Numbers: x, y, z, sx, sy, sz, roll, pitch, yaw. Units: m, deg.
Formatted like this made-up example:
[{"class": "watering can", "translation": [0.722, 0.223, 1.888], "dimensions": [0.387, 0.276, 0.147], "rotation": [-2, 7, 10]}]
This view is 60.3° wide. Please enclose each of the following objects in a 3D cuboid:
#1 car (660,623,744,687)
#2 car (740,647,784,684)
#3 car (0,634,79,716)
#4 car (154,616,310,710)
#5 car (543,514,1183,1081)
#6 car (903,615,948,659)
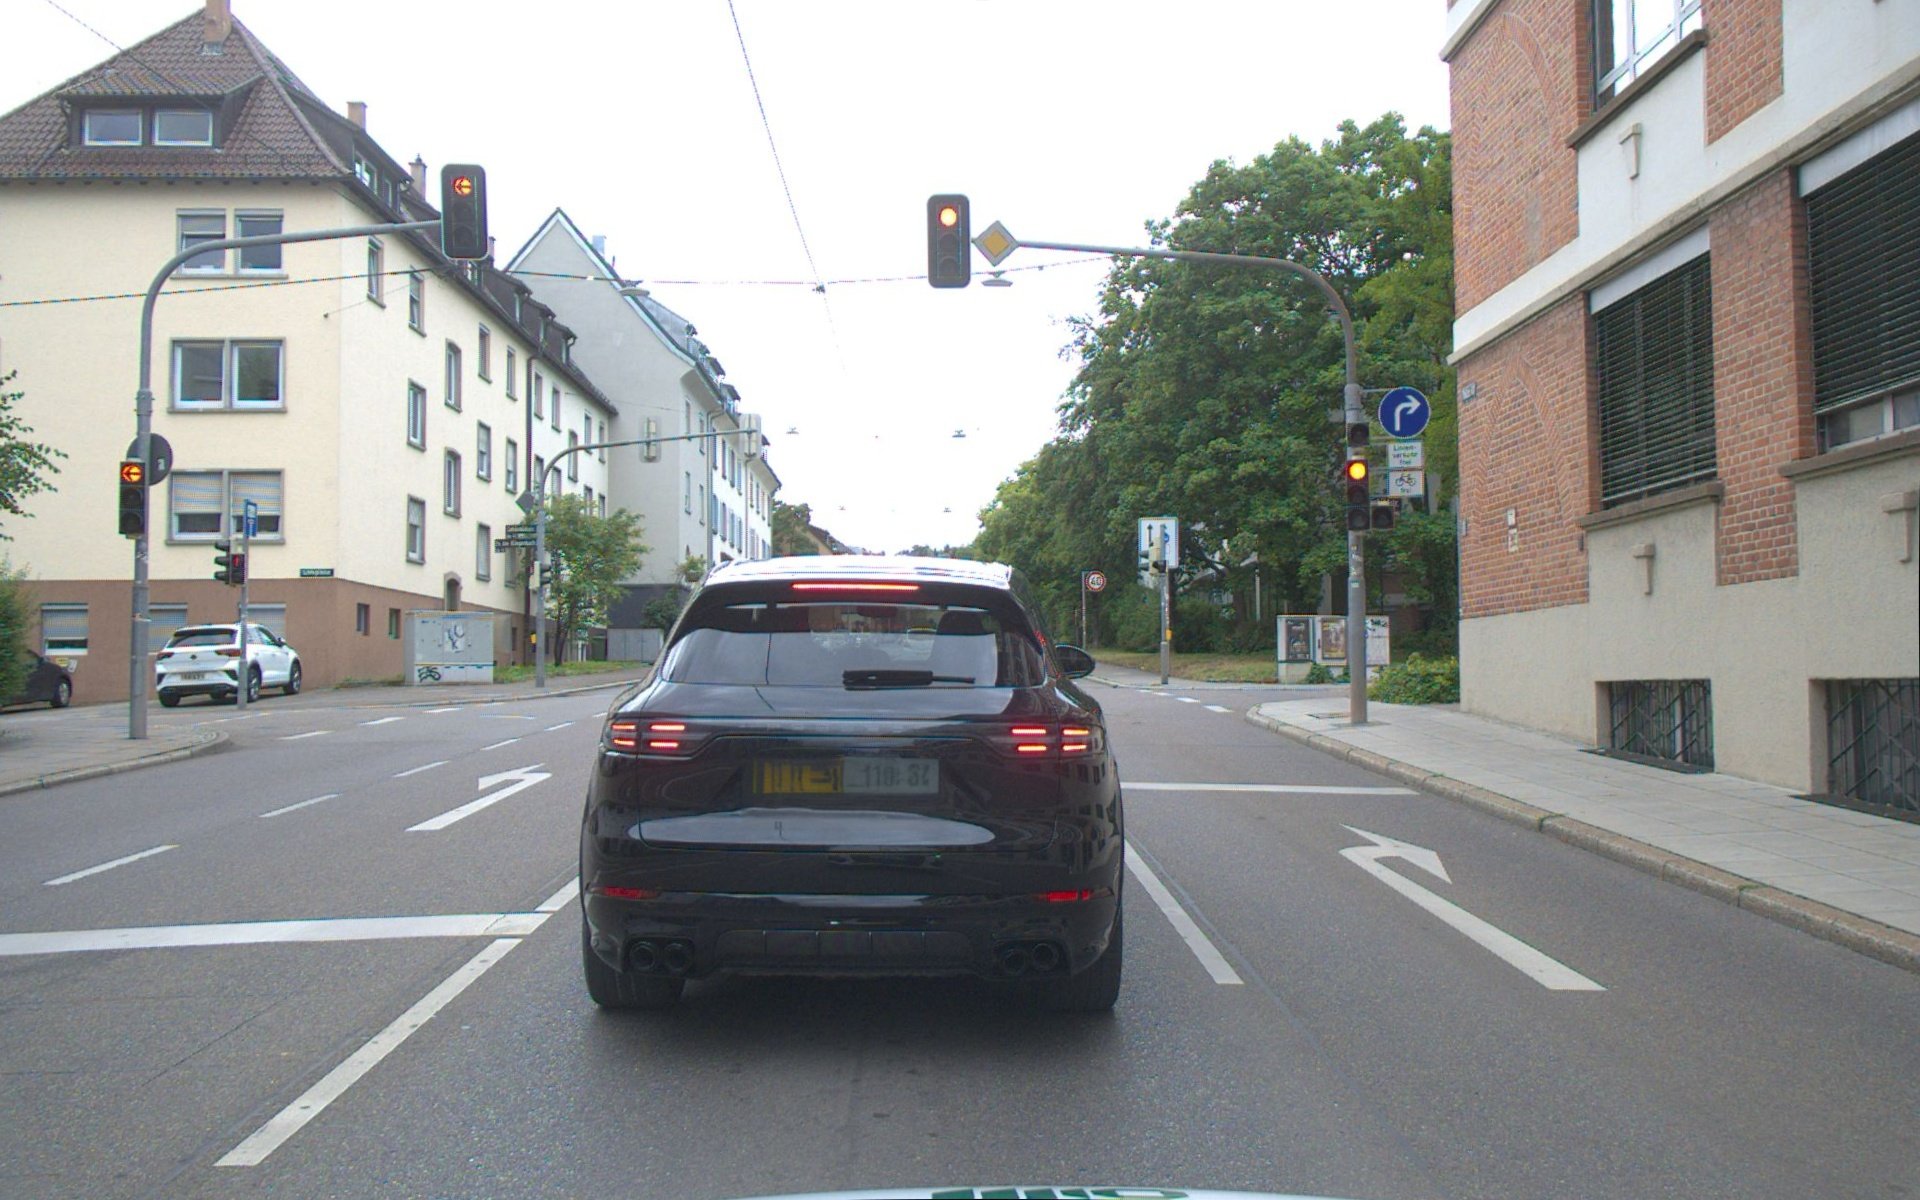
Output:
[{"class": "car", "translation": [-7.027, 1.479, 45.385], "dimensions": [1.630, 1.545, 3.739], "rotation": [-4, 0, 0]}, {"class": "car", "translation": [-8.289, 2.726, 69.431], "dimensions": [1.637, 1.386, 3.997], "rotation": [0, 0, -4]}, {"class": "car", "translation": [-19.725, 1.550, 33.407], "dimensions": [1.636, 1.573, 4.100], "rotation": [-3, 0, -1]}, {"class": "car", "translation": [-14.740, 1.230, 33.703], "dimensions": [1.638, 1.691, 3.995], "rotation": [-3, 0, -5]}, {"class": "car", "translation": [-0.323, 0.622, 7.118], "dimensions": [1.953, 1.726, 3.999], "rotation": [1, 0, -1]}, {"class": "car", "translation": [-1.365, 1.411, 63.956], "dimensions": [1.654, 1.579, 3.887], "rotation": [1, 0, -2]}]
